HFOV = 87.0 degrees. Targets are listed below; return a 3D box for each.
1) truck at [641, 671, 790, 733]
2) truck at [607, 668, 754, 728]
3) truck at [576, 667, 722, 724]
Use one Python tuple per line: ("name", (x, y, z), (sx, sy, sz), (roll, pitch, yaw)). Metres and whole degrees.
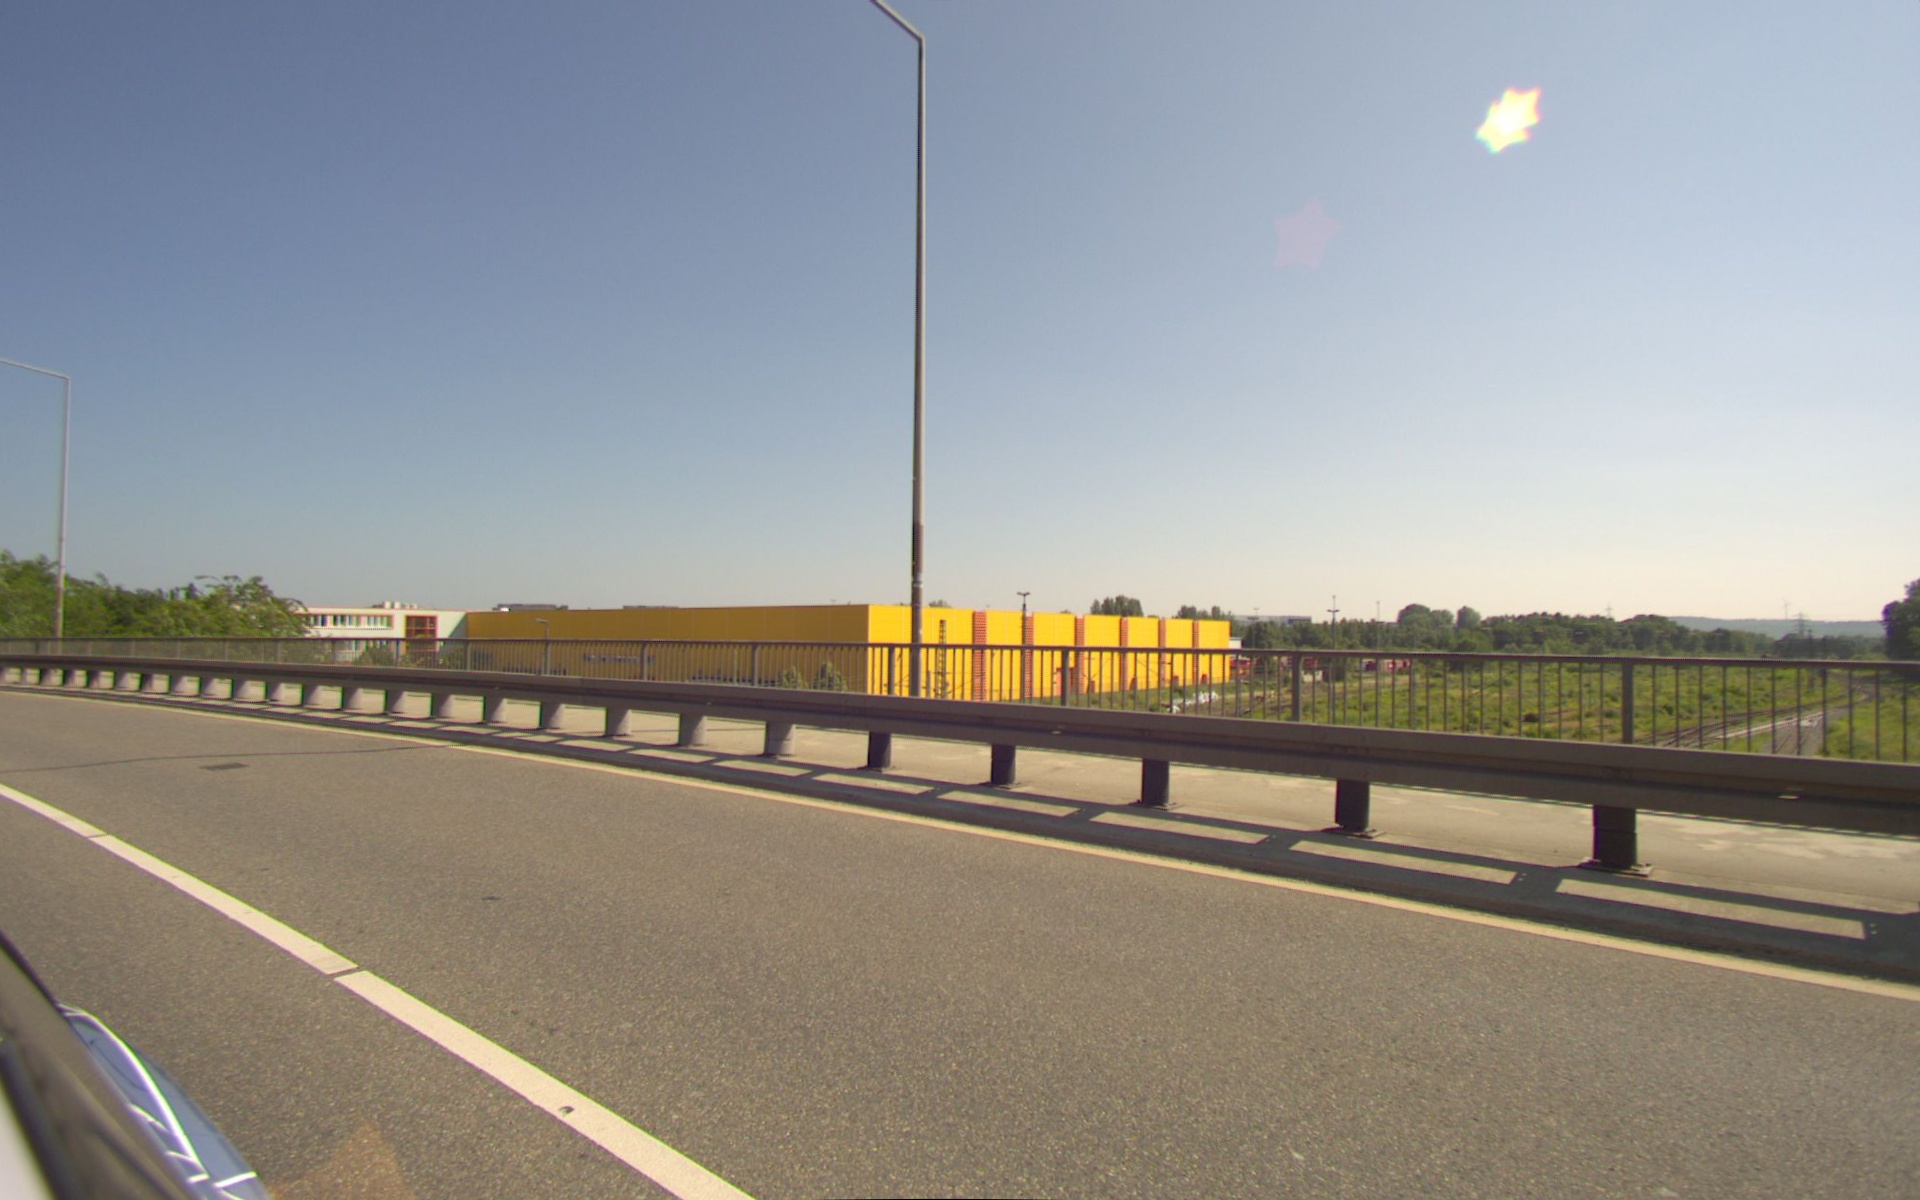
("truck", (-28.304, 11.676, 118.574), (5.965, 5.719, 17.334), (-1, -1, 36))
("truck", (-33.402, 11.610, 122.349), (5.778, 5.719, 17.334), (-1, -1, 36))
("truck", (-38.367, 11.652, 126.176), (5.965, 5.719, 17.334), (-1, -1, 36))
